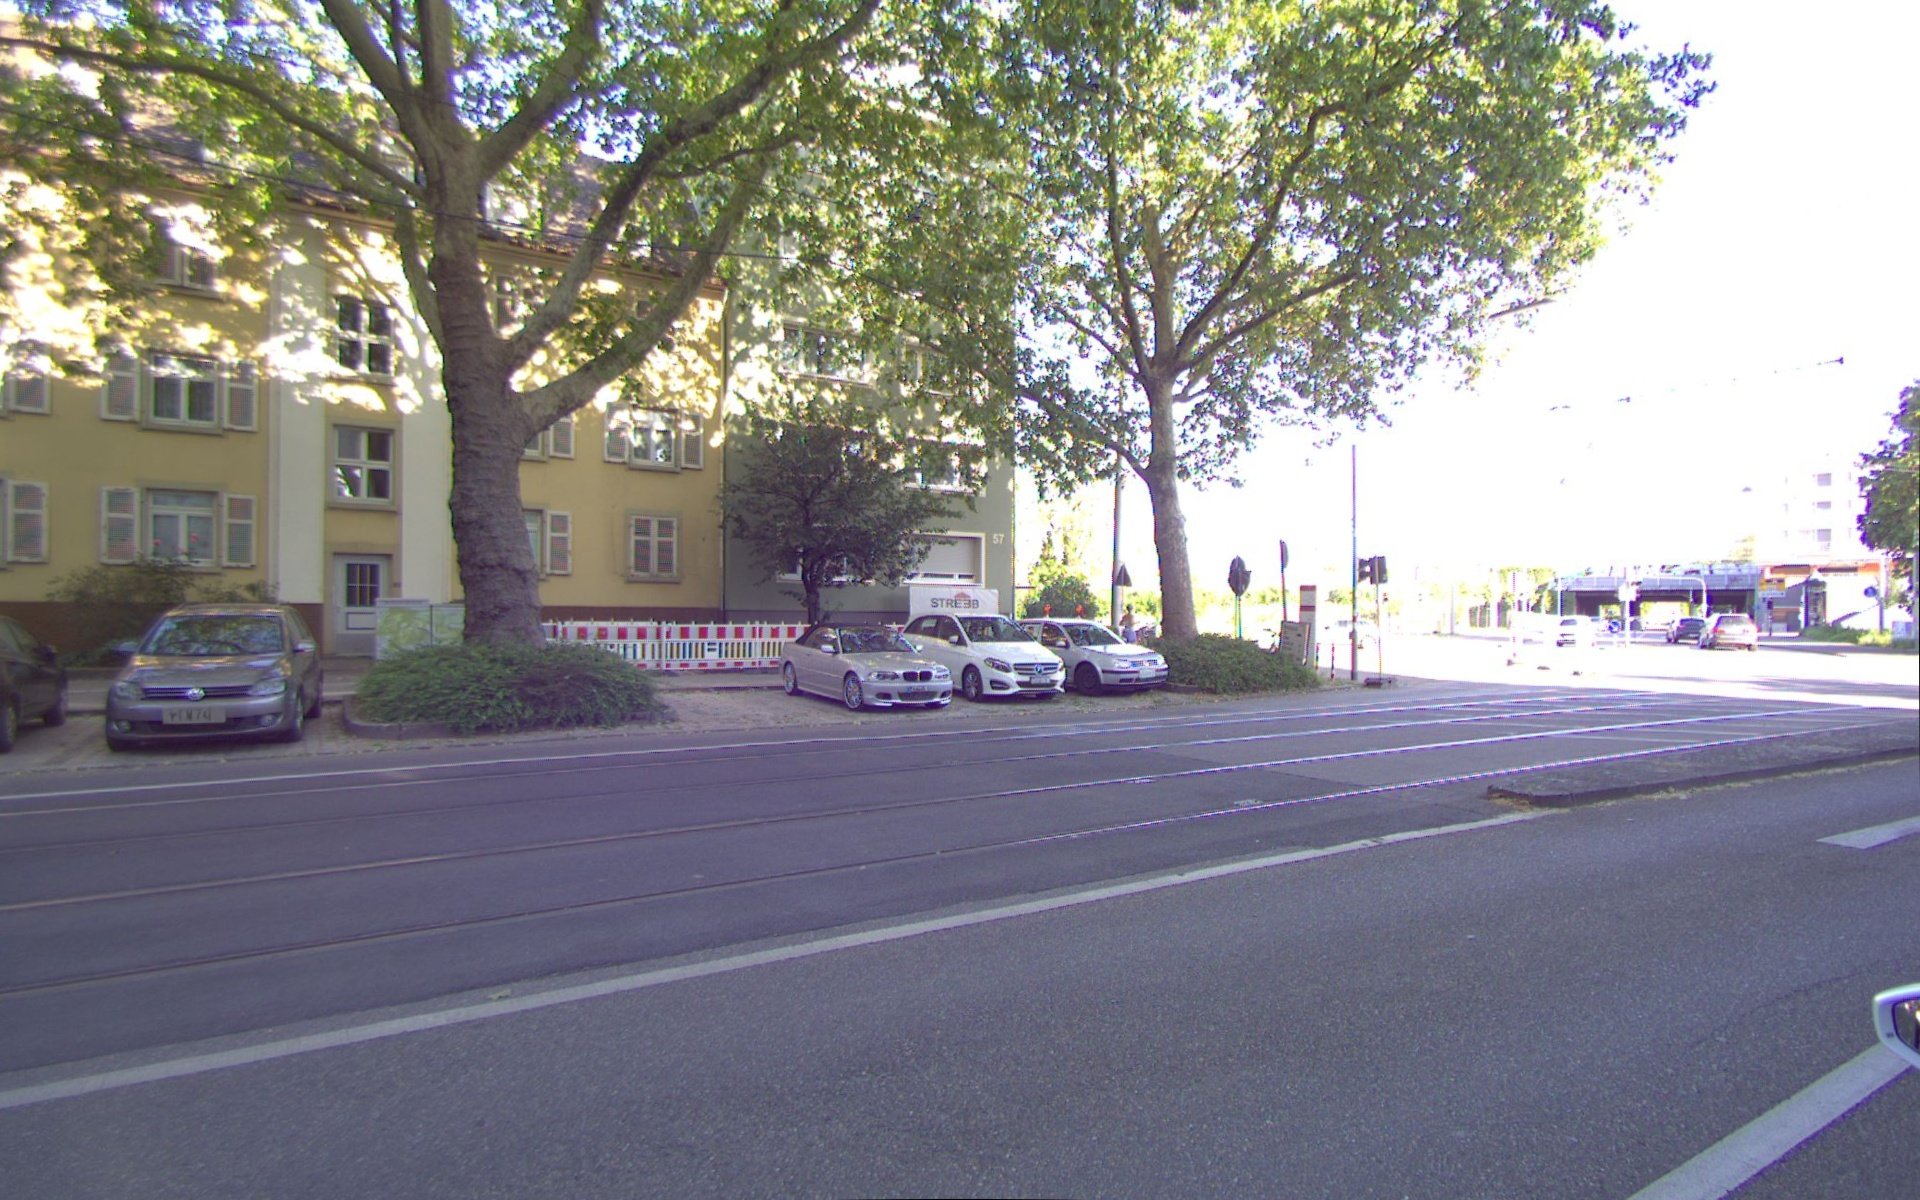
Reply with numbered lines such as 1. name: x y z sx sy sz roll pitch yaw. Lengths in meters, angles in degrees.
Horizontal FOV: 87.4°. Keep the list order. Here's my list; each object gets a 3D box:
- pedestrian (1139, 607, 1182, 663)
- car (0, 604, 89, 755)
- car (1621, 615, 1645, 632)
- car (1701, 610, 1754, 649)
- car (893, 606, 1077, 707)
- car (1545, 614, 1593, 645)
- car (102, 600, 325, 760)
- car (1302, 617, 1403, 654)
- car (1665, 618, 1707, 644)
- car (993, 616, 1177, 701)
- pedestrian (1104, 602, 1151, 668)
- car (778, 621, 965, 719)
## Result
1. pedestrian: 6.140 1.060 30.789 0.919 1.669 0.841 2 0 -30
2. car: -11.459 0.830 11.385 1.652 1.518 3.778 1 0 -29
3. car: 70.498 2.458 105.196 1.860 1.606 3.823 2 0 37
4. car: 38.899 1.474 50.989 1.883 1.906 4.831 0 -1 34
5. car: 0.357 0.981 19.154 1.651 1.669 3.949 1 0 -31
6. car: 33.526 1.626 55.247 1.860 1.606 3.823 2 0 37
7. car: -8.993 0.830 12.417 1.652 1.602 3.953 1 0 -29
8. car: 19.349 1.733 49.667 4.272 1.788 1.990 0 -1 7
9. car: 44.942 1.900 62.211 1.772 1.539 4.196 2 0 32
10. car: 2.447 1.108 20.529 1.651 1.473 3.949 1 0 -31
11. pedestrian: 4.383 0.910 26.238 0.948 1.683 0.765 2 0 -43
12. car: -1.643 1.106 17.310 1.651 1.370 3.949 1 0 -31
